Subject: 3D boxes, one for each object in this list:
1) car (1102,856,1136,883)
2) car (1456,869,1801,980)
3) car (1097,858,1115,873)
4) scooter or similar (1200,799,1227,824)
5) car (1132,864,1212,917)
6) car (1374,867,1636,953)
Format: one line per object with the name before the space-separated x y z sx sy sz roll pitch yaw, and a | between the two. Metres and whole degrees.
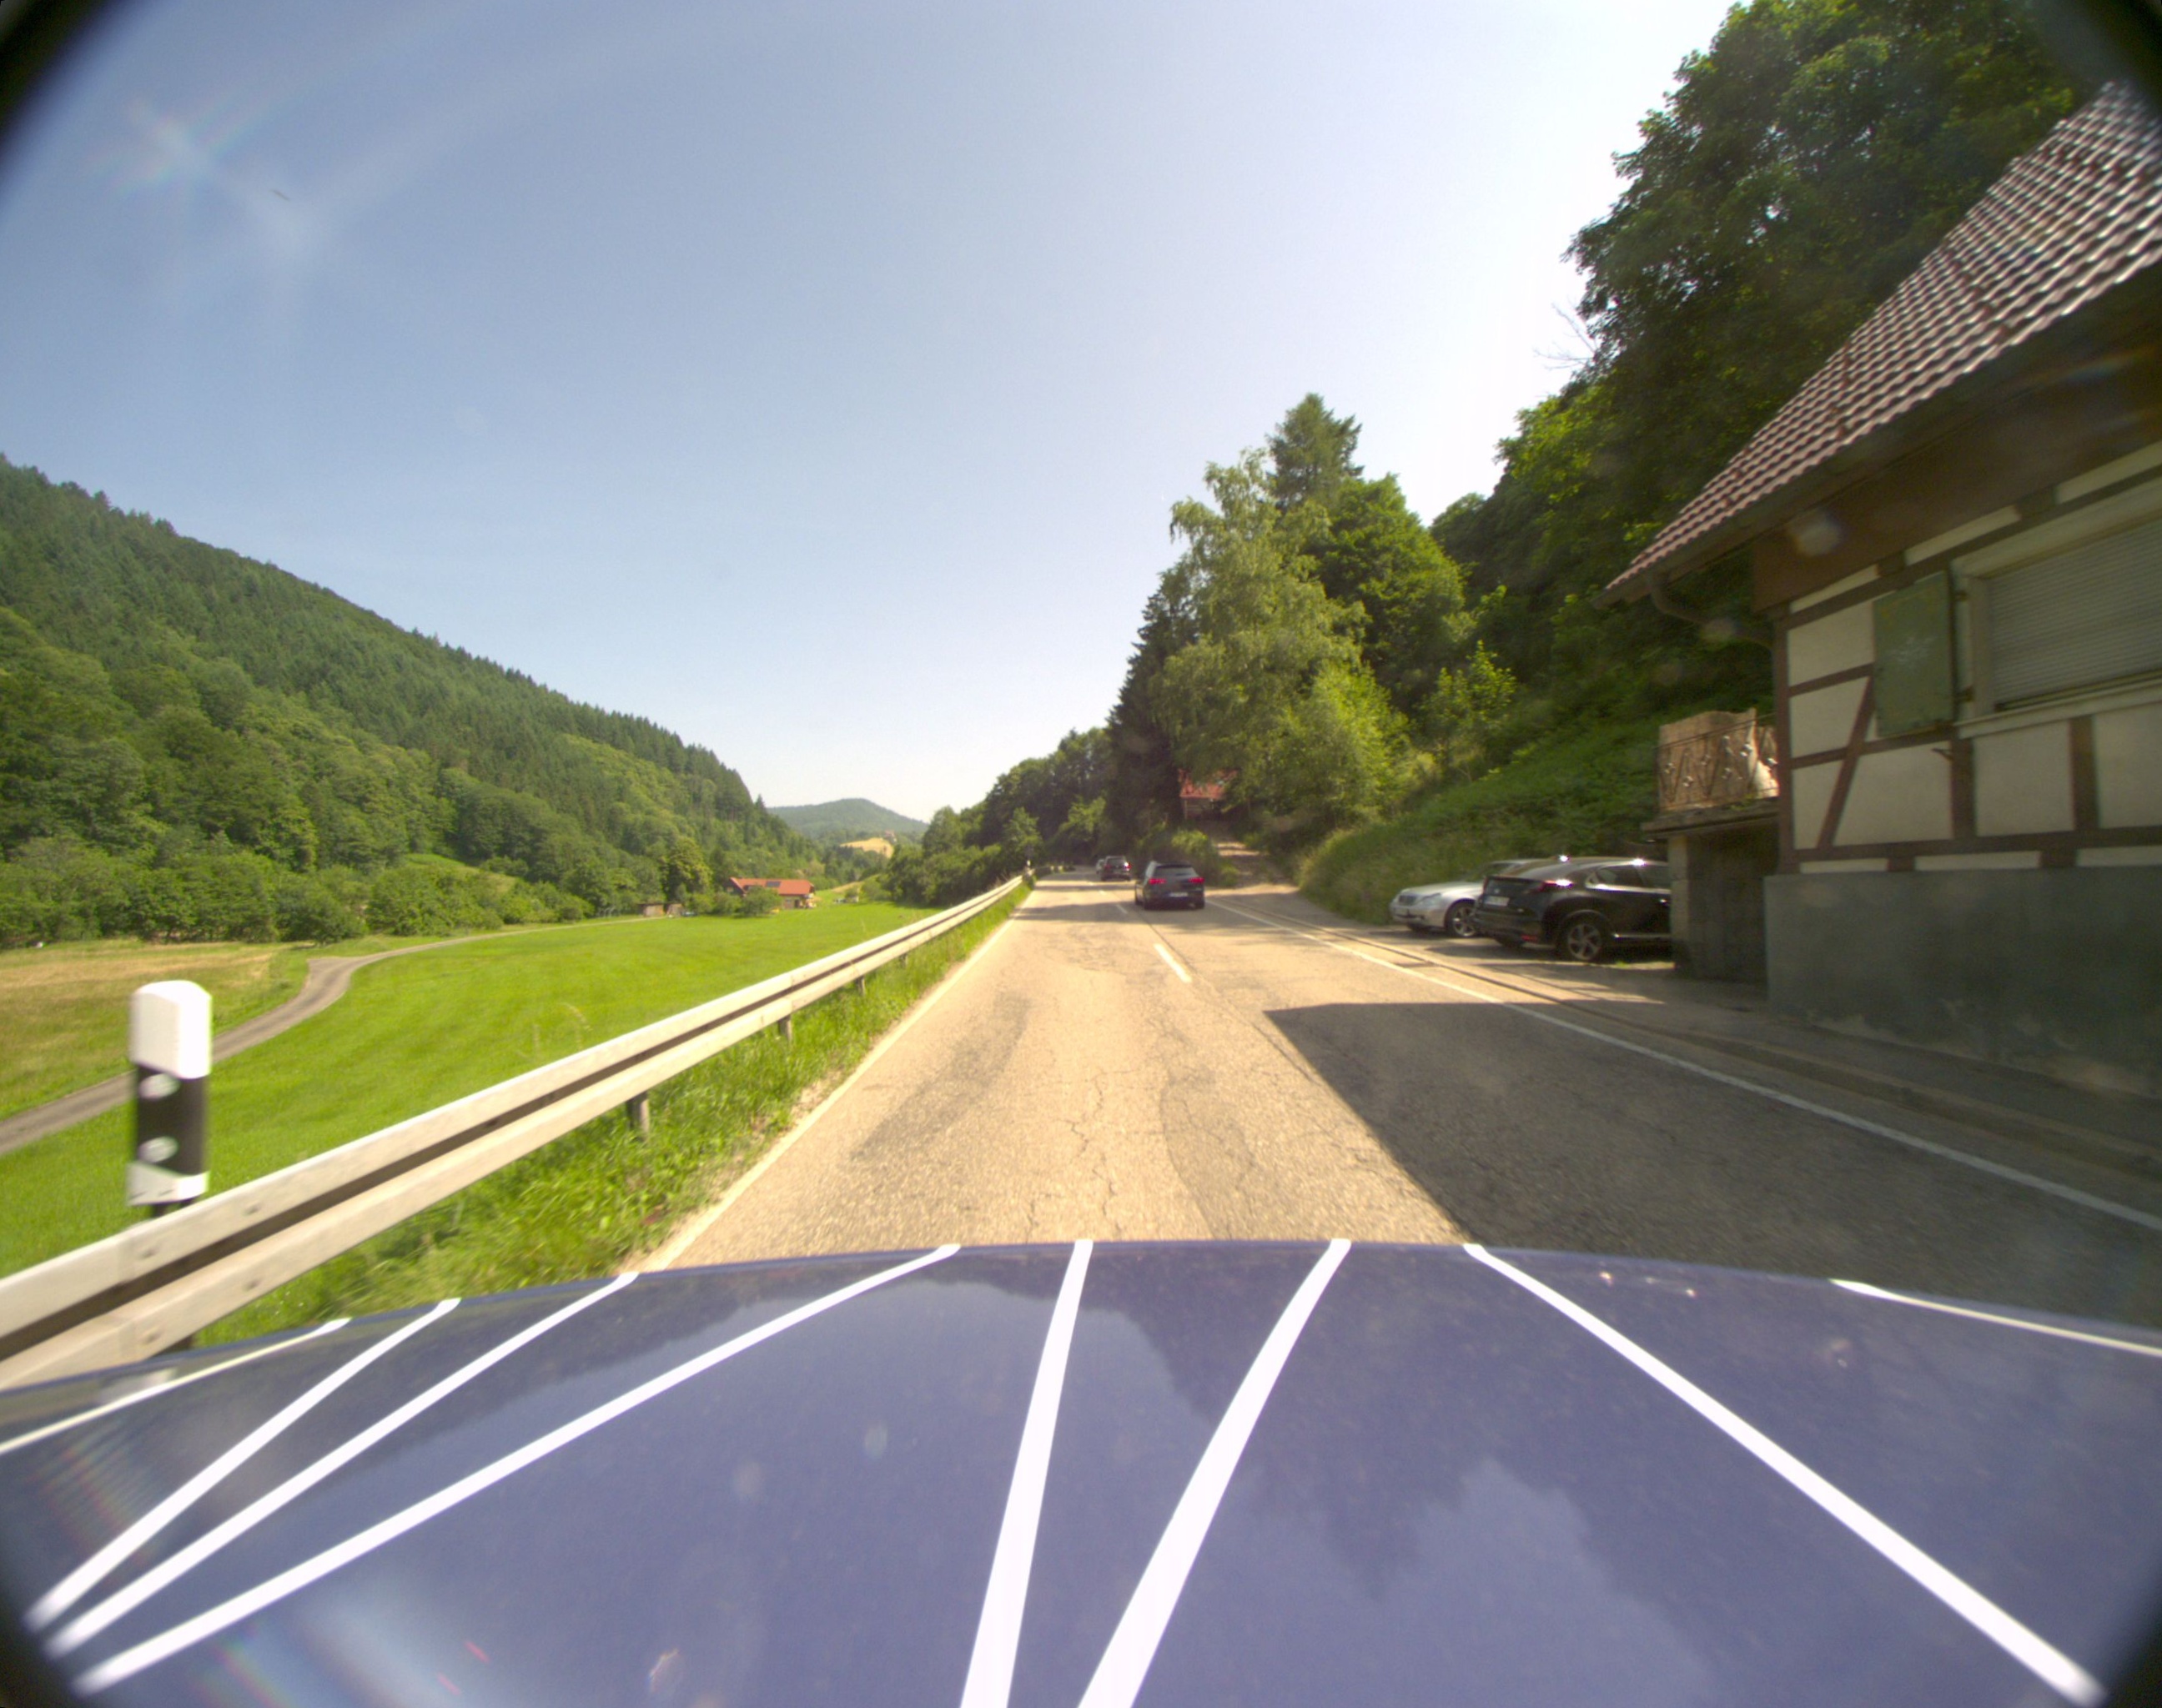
car | 2.475 0.996 49.924 1.894 1.635 4.257 -1 0 -1
car | 7.976 0.987 11.335 3.827 1.424 1.863 1 1 -3
car | 2.609 1.227 80.767 1.782 1.429 3.999 0 1 -1
scooter or similar | 12.405 -3.939 71.484 1.982 2.015 4.406 -4 0 4
car | 2.686 1.052 23.202 1.769 1.388 4.144 -1 0 -2
car | 7.681 0.974 14.012 3.827 1.408 1.856 -1 0 -3
